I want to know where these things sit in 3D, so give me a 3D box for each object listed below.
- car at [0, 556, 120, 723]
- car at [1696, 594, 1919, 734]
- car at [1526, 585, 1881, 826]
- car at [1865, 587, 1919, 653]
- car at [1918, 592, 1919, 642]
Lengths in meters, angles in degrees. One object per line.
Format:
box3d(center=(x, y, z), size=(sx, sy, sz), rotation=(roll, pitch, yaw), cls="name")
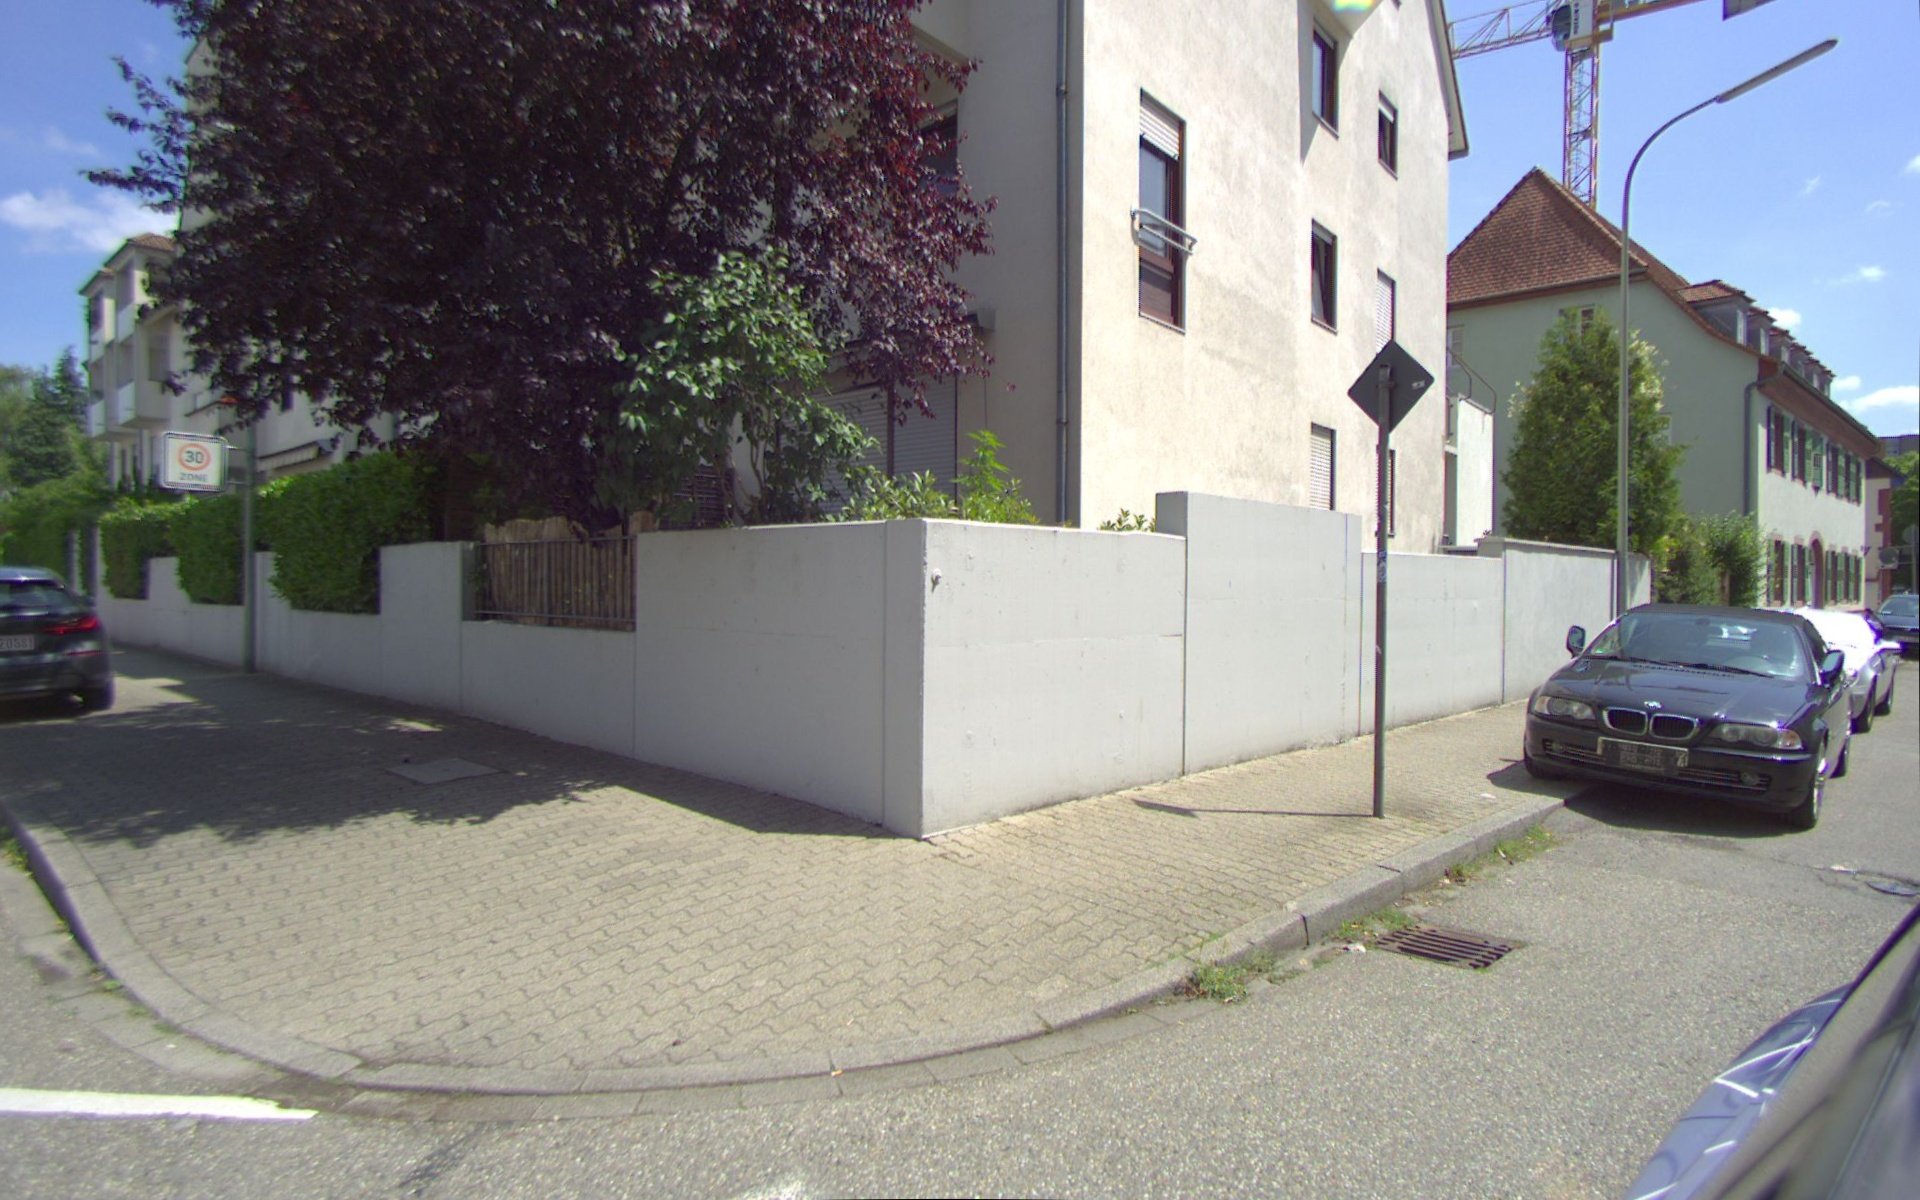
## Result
box3d(center=(-10.065, 0.302, 10.341), size=(3.985, 1.486, 1.712), rotation=(2, 3, 42), cls="car")
box3d(center=(10.522, 0.662, 12.469), size=(3.757, 1.370, 1.587), rotation=(-1, 3, -42), cls="car")
box3d(center=(6.035, 0.587, 8.007), size=(4.170, 1.393, 1.657), rotation=(-1, 1, -45), cls="car")
box3d(center=(23.965, 0.450, 25.036), size=(3.930, 1.534, 1.850), rotation=(-1, 1, -41), cls="car")
box3d(center=(31.051, 0.497, 31.393), size=(3.932, 1.516, 1.649), rotation=(-1, 1, -42), cls="car")
